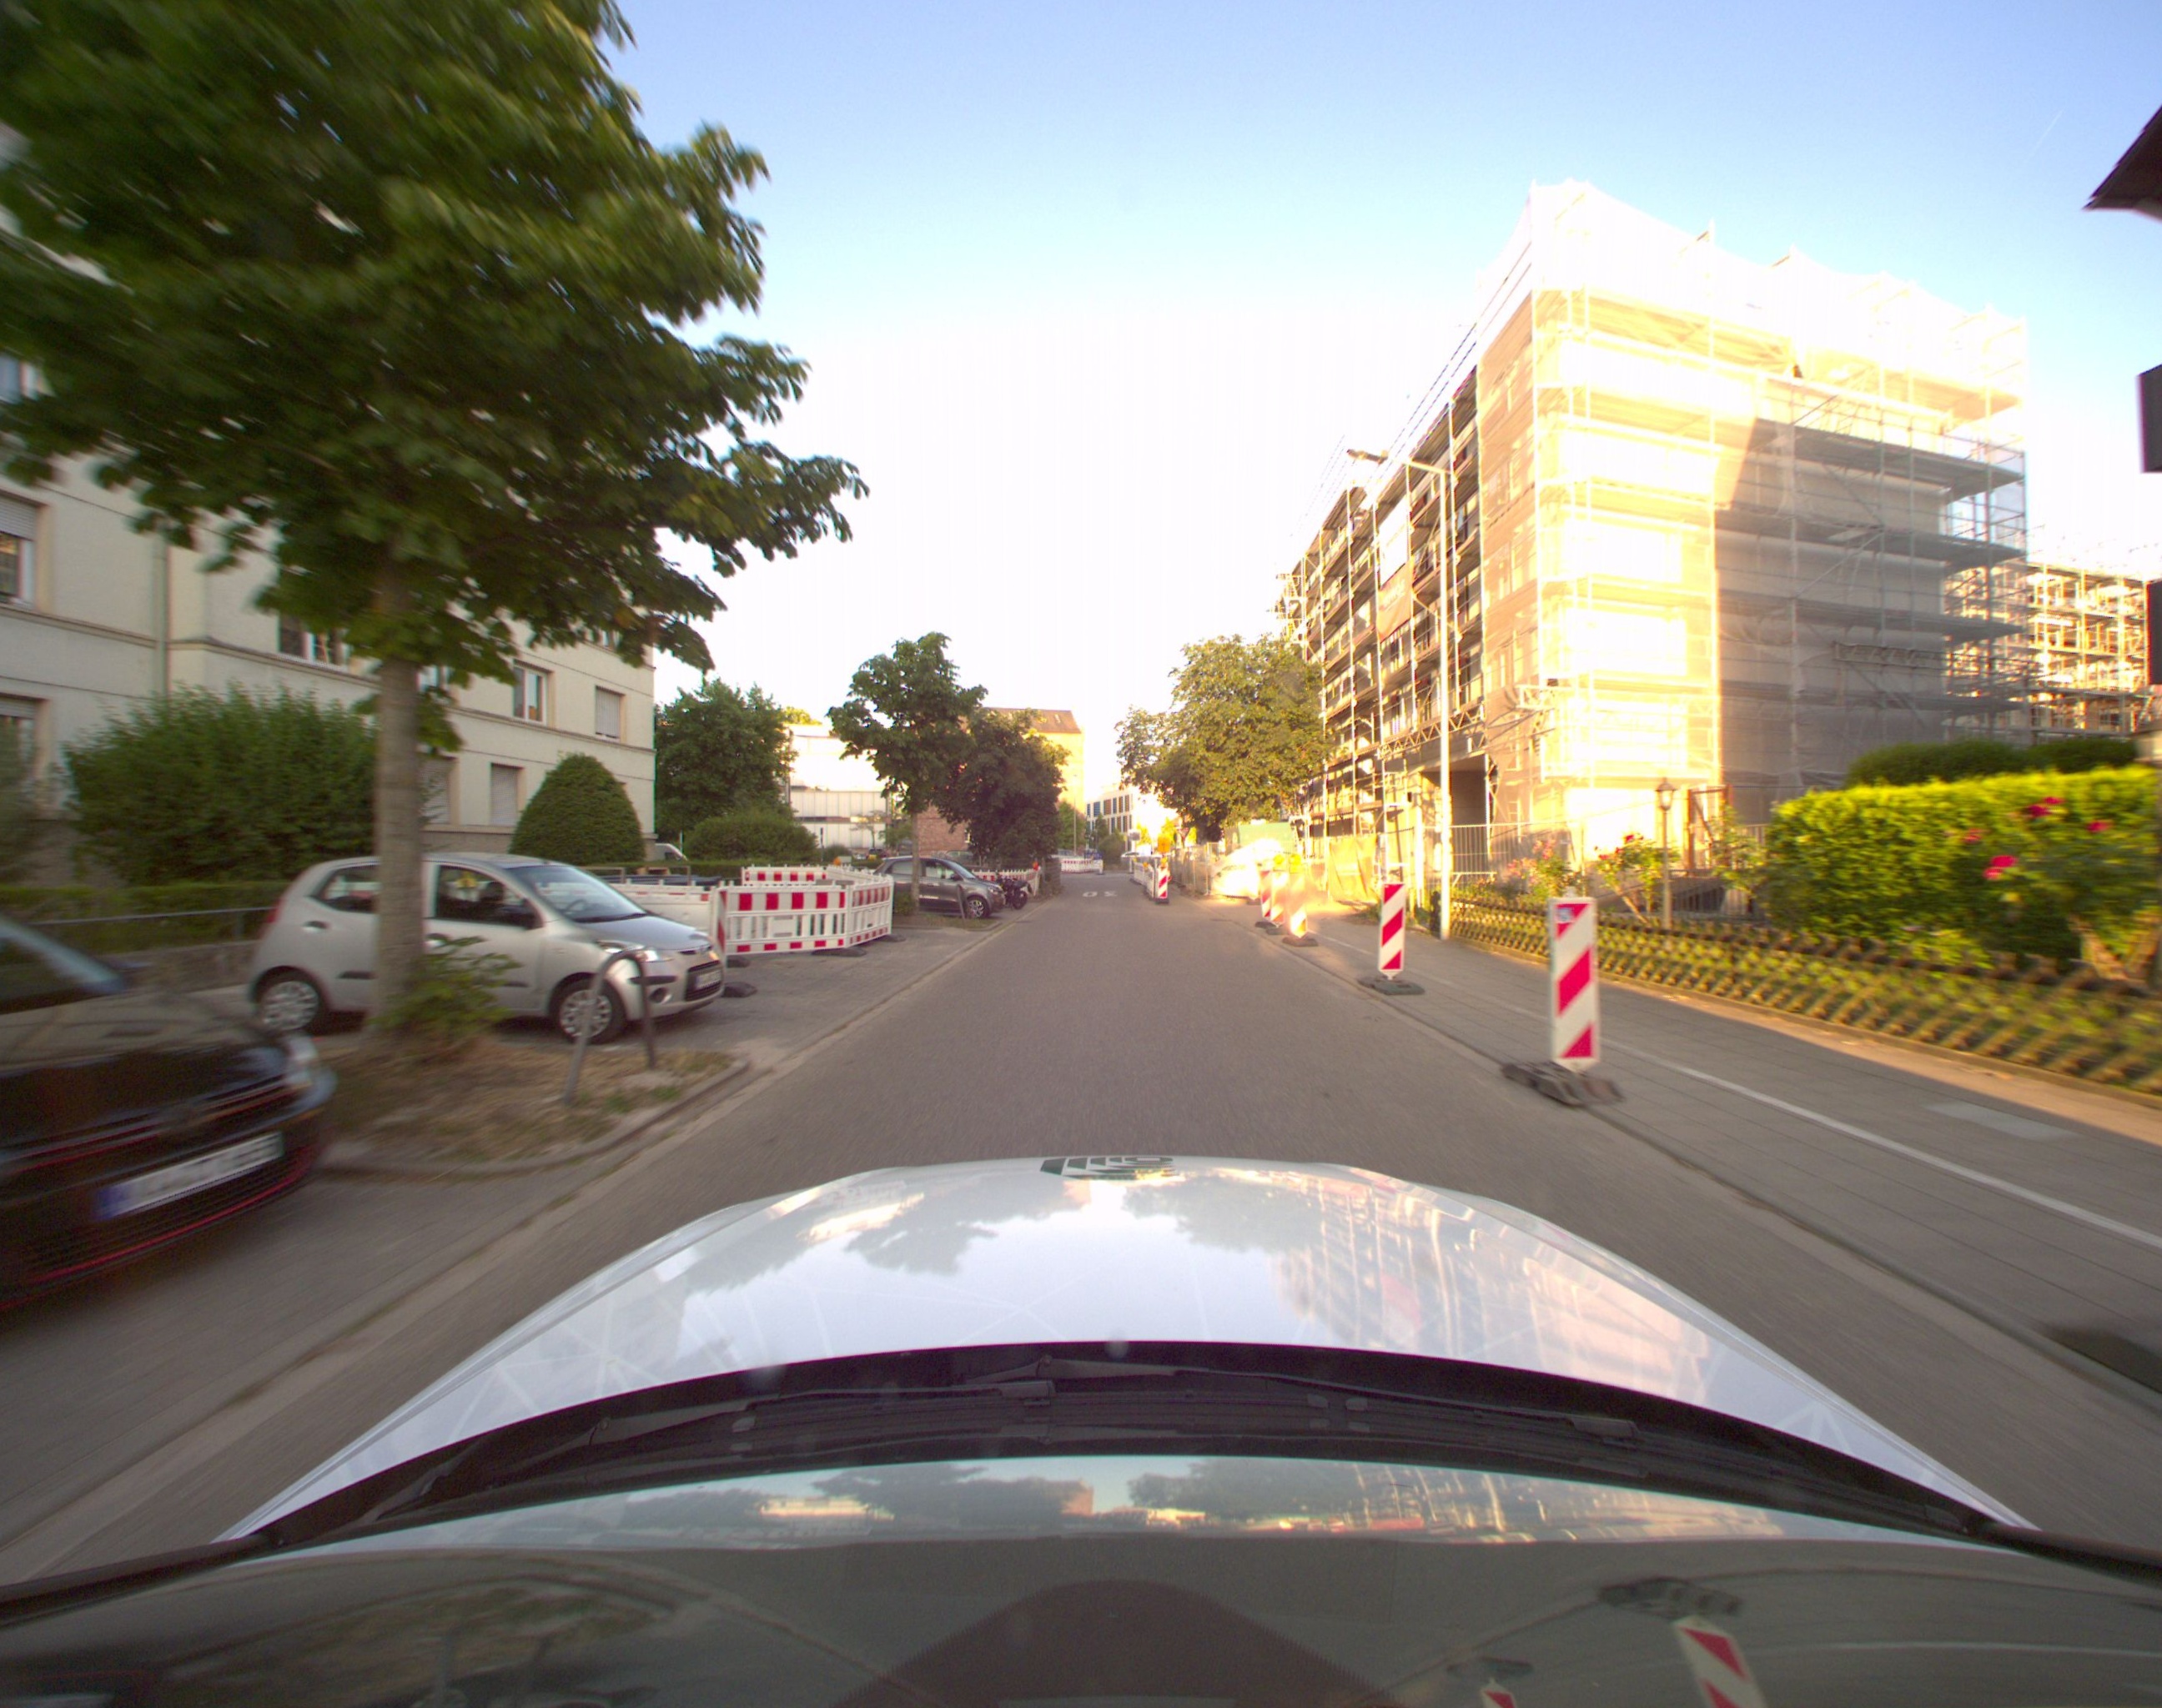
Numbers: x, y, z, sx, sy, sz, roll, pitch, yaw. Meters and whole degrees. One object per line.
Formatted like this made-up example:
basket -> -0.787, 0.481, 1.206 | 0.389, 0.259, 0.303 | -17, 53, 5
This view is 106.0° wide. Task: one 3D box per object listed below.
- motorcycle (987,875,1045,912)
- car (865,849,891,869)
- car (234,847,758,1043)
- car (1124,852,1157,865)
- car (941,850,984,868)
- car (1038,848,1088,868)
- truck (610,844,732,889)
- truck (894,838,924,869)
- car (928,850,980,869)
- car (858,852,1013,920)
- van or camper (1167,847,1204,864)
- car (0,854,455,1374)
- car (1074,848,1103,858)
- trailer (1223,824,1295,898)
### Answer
motorcycle -> -1.938, 1.177, 24.714 | 0.532, 1.021, 2.225 | 2, 0, 31
car -> -17.806, 0.432, 71.264 | 1.999, 1.692, 3.976 | -1, 0, -17
car -> -5.047, 0.755, 7.445 | 3.464, 1.566, 1.727 | 0, -1, -1
car -> 7.426, 0.548, 101.120 | 3.752, 1.603, 1.676 | -1, -1, -19
car -> -10.442, 0.401, 71.601 | 3.637, 1.503, 1.629 | -1, 0, -14
car -> -1.629, 0.369, 73.789 | 4.279, 1.708, 1.693 | -1, 0, -17
truck -> -23.594, 0.689, 47.147 | 6.048, 2.422, 2.094 | -1, 1, -21
truck -> -15.255, -0.041, 71.931 | 2.338, 2.617, 4.948 | -1, 0, -15
car -> -11.483, 0.474, 73.590 | 4.590, 1.638, 1.568 | -1, 0, -15
car -> -3.710, 0.799, 21.174 | 3.609, 1.557, 1.694 | 2, 0, 2
van or camper -> 14.924, 0.225, 116.175 | 4.978, 2.240, 1.676 | -1, -1, -19
car -> -5.017, 0.750, 3.104 | 3.960, 1.489, 1.730 | 0, -1, 4
car -> 1.080, -0.145, 120.006 | 3.996, 1.313, 1.867 | -1, 0, -17
trailer -> 6.565, 0.236, 30.488 | 1.985, 2.540, 4.189 | -1, 0, 3
